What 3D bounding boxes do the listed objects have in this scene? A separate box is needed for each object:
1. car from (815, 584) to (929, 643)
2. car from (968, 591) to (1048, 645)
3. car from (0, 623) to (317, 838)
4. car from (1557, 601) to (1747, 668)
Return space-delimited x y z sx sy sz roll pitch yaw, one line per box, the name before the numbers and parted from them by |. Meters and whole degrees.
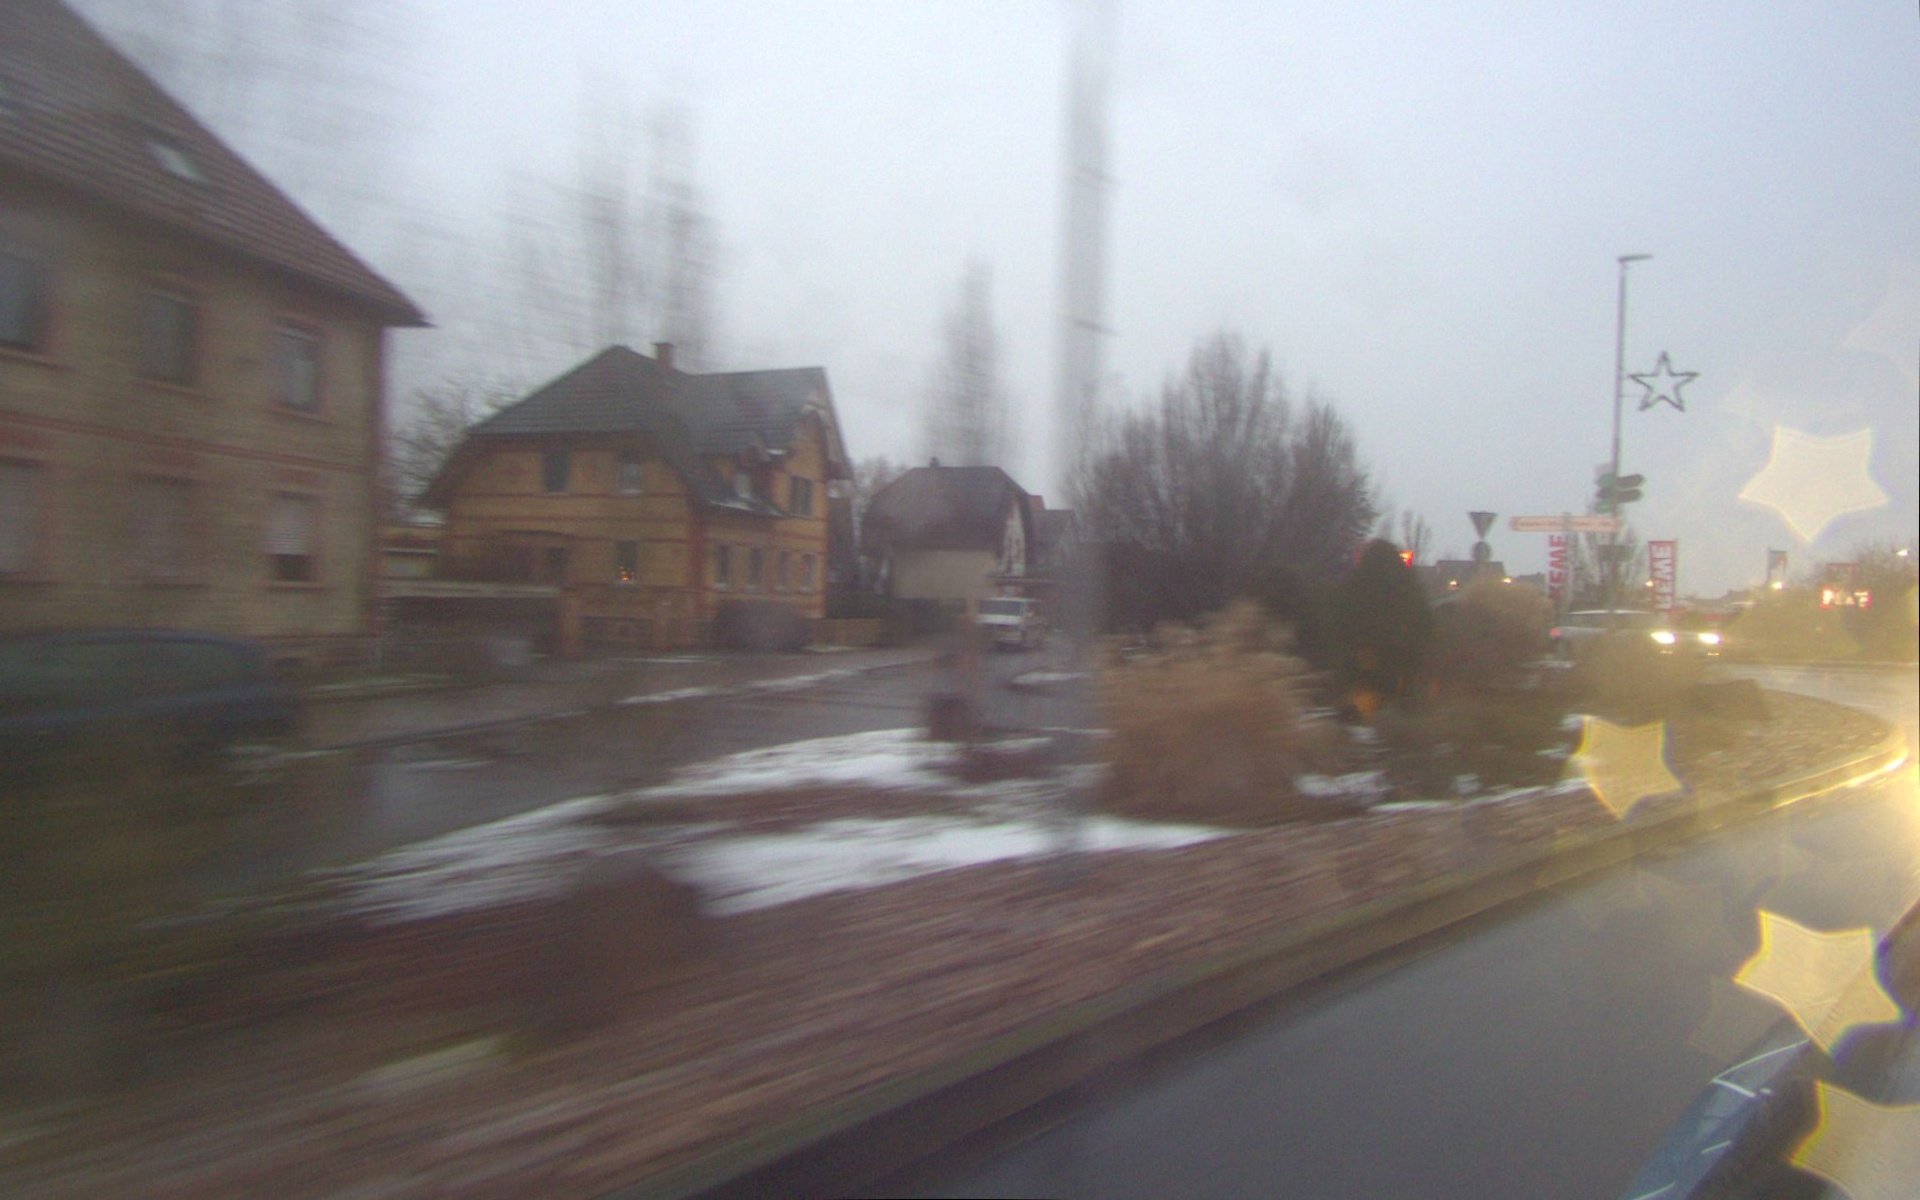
car | -3.056 0.401 36.636 2.335 1.888 5.306 2 2 16
car | 1.952 0.707 39.455 1.912 1.943 5.217 0 -1 17
car | -6.885 0.899 7.590 1.268 1.401 3.562 0 -1 15
car | 17.107 0.795 25.234 1.628 1.511 3.719 0 0 -16
